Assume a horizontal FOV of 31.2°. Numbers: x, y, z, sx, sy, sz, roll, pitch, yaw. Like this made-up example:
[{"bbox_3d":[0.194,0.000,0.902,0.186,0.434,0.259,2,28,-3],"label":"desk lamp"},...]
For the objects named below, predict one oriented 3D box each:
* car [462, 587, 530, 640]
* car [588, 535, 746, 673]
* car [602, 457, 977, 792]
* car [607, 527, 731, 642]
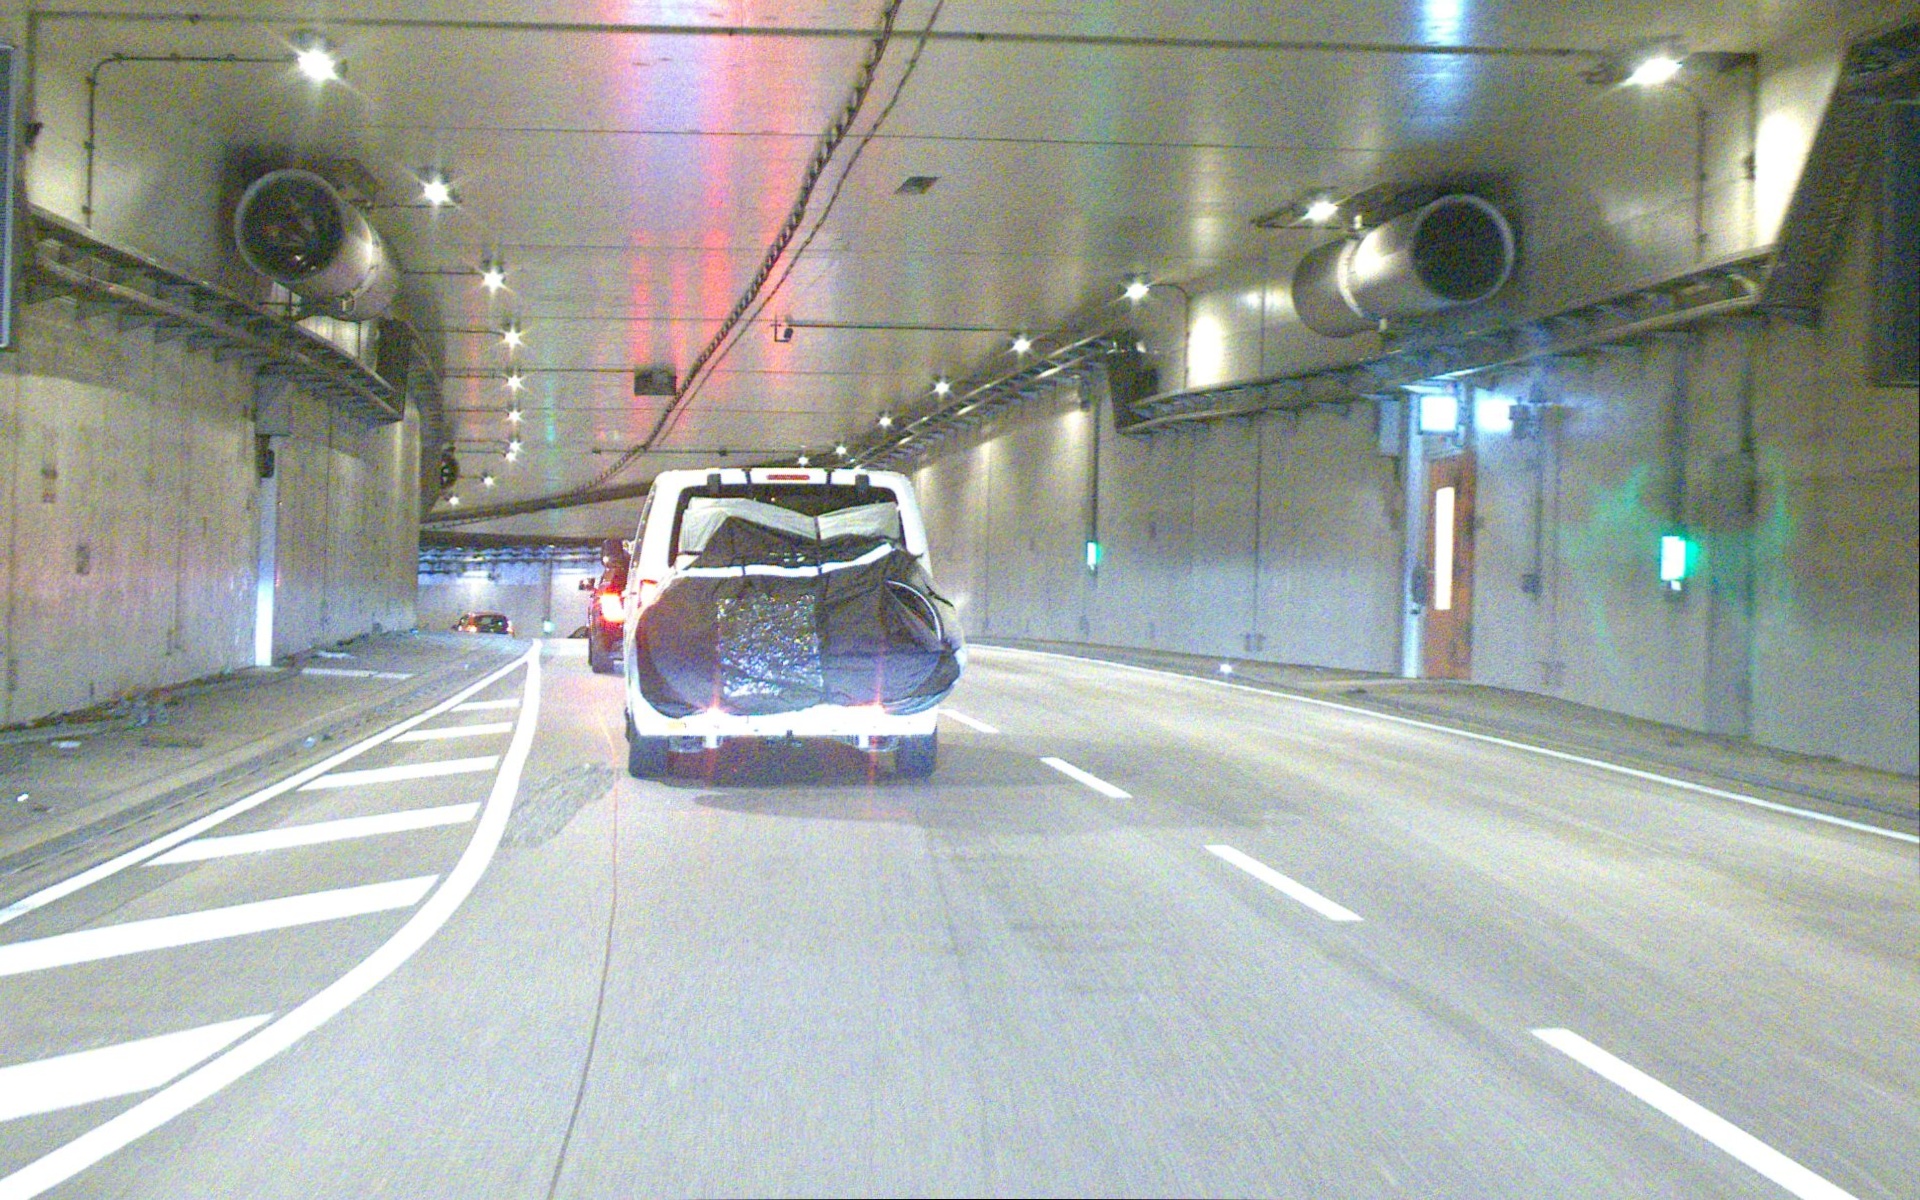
[{"bbox_3d":[-15.120,0.449,111.930,1.822,1.625,3.844,3,-1,-12],"label":"car"},{"bbox_3d":[-3.220,0.023,37.352,1.602,1.390,3.278,1,1,-6],"label":"car"},{"bbox_3d":[-1.210,0.092,21.584,1.993,1.841,5.302,0,1,-7],"label":"car"},{"bbox_3d":[-4.211,-0.208,49.446,1.602,1.588,3.356,0,0,-8],"label":"car"}]
